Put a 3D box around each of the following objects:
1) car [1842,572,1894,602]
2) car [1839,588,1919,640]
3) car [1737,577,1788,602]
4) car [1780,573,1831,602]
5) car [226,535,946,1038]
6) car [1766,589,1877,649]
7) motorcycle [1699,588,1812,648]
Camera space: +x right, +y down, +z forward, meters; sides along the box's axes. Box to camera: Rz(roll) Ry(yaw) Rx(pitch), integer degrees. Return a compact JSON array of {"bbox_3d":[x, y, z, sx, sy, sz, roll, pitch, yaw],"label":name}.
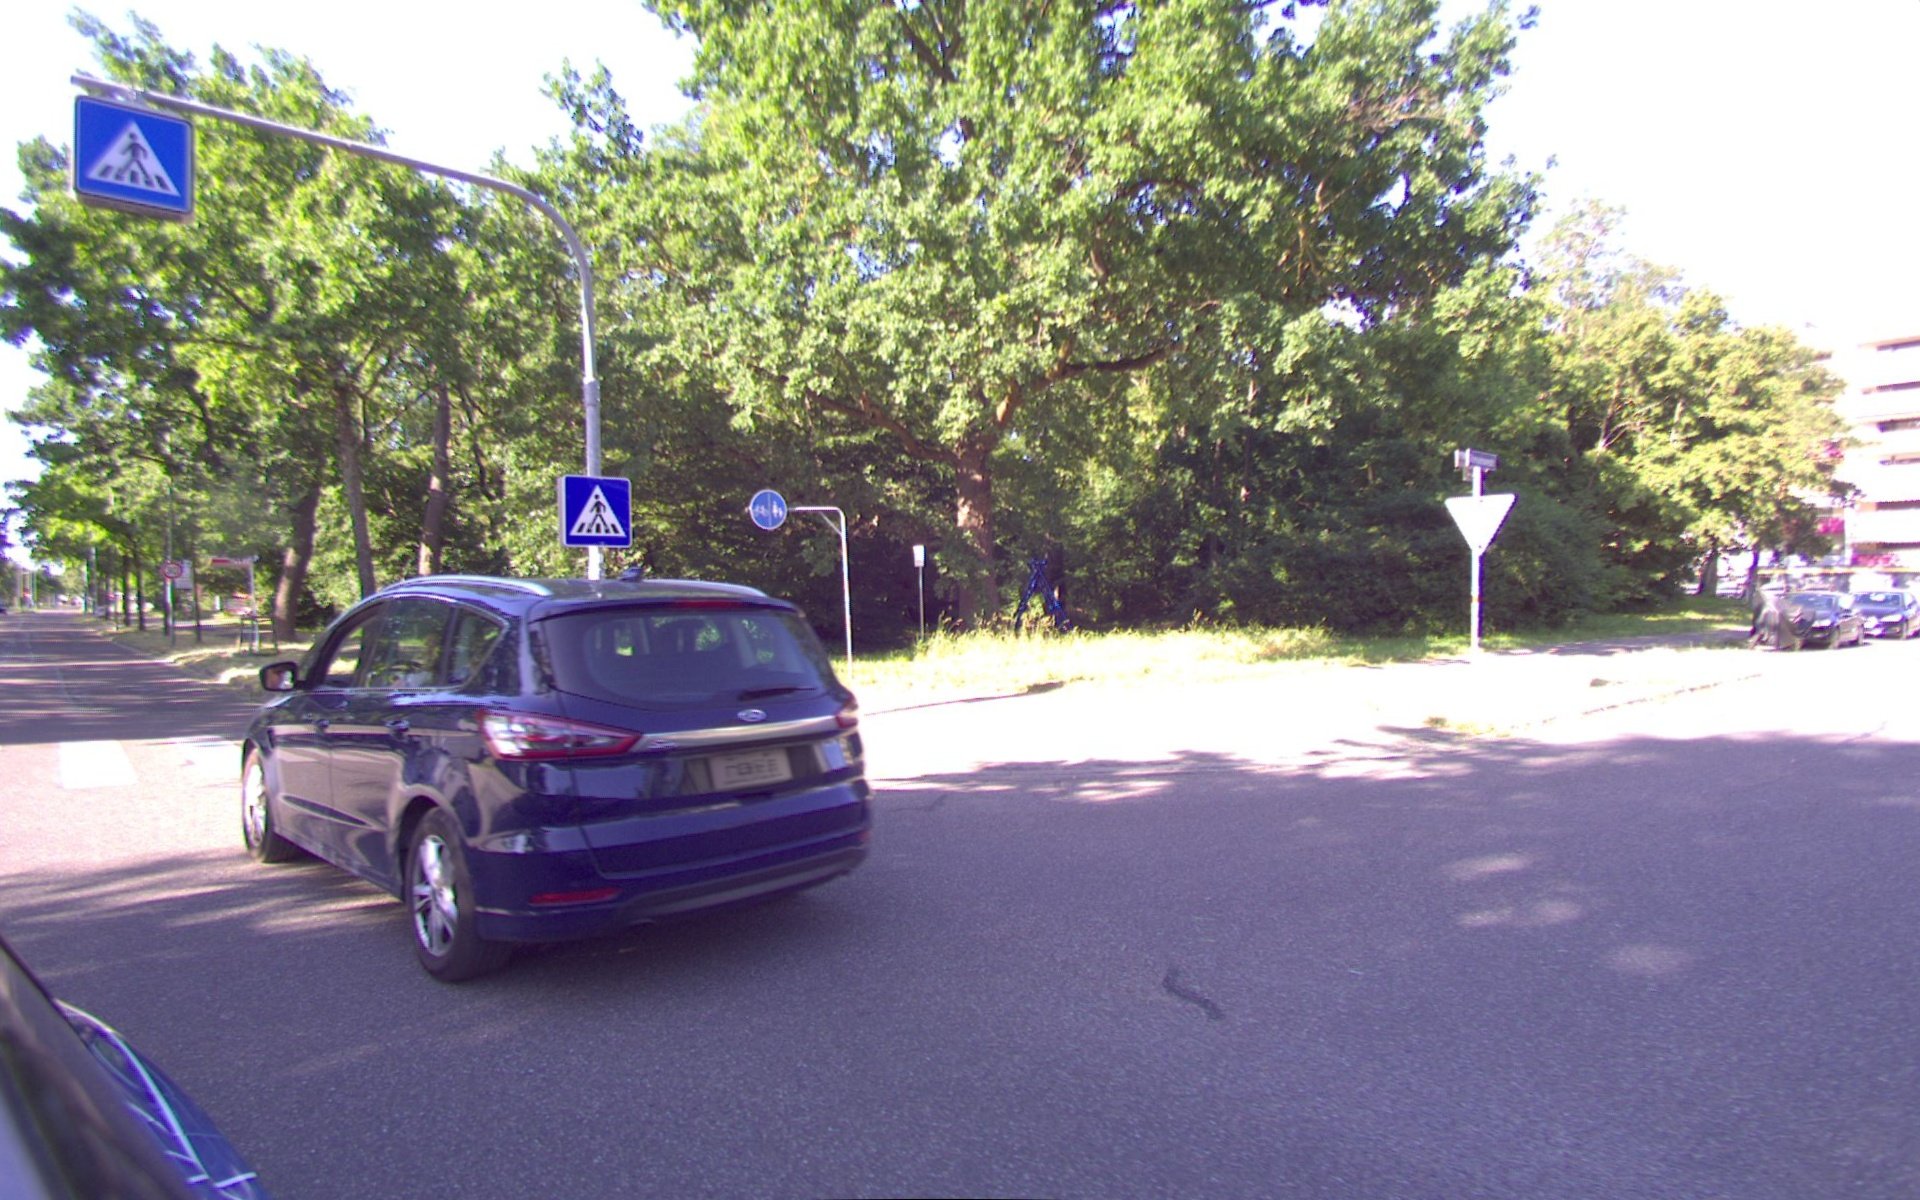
[{"bbox_3d":[54.688,-0.780,60.919,3.775,1.757,1.766,-1,0,-39],"label":"car"},{"bbox_3d":[27.198,0.381,29.676,3.532,1.402,1.562,-1,0,-39],"label":"car"},{"bbox_3d":[51.473,-0.703,64.911,3.775,1.538,1.803,-1,0,-39],"label":"car"},{"bbox_3d":[53.091,-0.816,63.517,3.775,1.757,1.766,-1,0,-39],"label":"car"},{"bbox_3d":[-2.324,0.644,5.495,4.492,1.637,1.802,-1,-2,42],"label":"car"},{"bbox_3d":[22.283,0.452,26.140,3.532,1.402,1.562,-1,0,-39],"label":"car"},{"bbox_3d":[18.617,0.428,23.738,1.947,1.354,0.671,-1,0,21],"label":"motorcycle"}]
